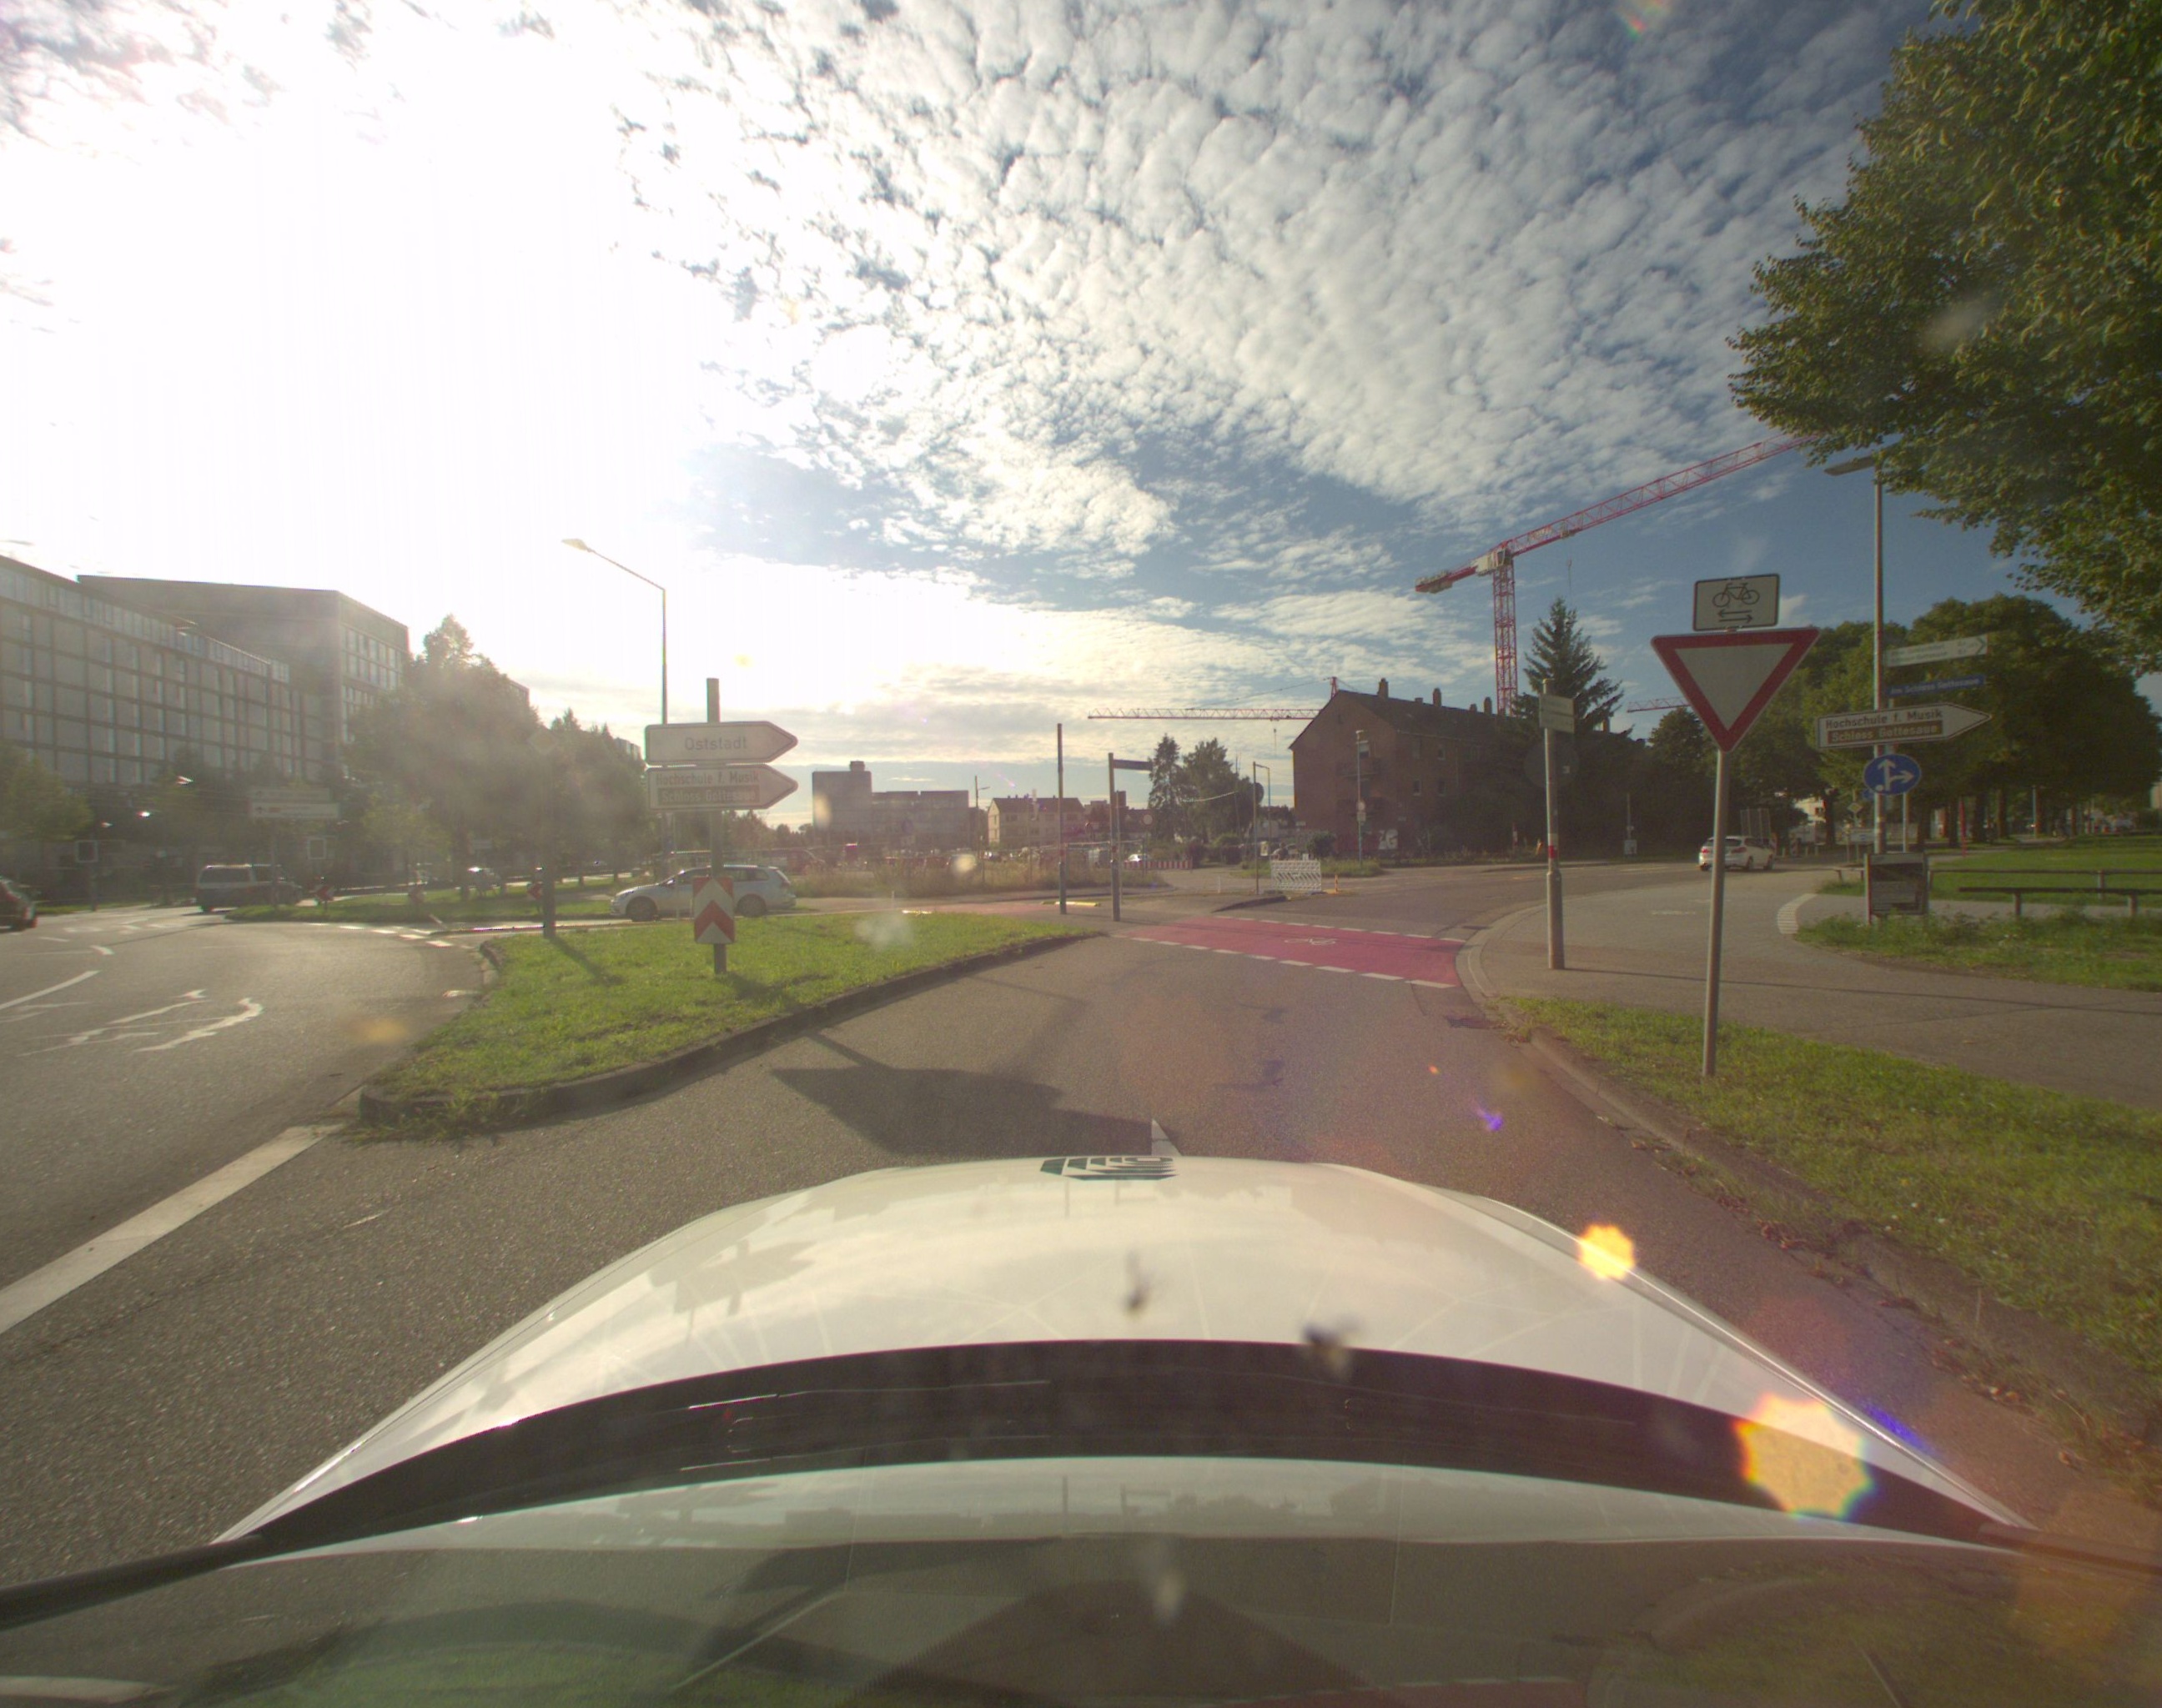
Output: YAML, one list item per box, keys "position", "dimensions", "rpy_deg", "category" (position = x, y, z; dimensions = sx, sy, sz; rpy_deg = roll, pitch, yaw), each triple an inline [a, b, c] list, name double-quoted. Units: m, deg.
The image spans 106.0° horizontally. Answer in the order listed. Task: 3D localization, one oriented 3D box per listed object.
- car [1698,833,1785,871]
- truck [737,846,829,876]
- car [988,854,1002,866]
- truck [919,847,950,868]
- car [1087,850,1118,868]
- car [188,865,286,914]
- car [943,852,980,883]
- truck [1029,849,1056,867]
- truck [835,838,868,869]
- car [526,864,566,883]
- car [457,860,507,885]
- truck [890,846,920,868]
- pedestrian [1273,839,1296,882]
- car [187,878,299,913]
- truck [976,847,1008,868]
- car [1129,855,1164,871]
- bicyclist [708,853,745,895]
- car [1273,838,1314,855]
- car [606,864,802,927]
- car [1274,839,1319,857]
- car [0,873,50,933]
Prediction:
- position: [29.482, -0.122, 36.314]
  dimensions: [4.473, 1.572, 1.837]
  rpy_deg: [-1, 1, -35]
  category: "car"
- position: [-27.396, 0.627, 75.292]
  dimensions: [7.855, 2.567, 3.056]
  rpy_deg: [-1, 0, -18]
  category: "truck"
- position: [-14.155, 0.995, 133.607]
  dimensions: [1.995, 1.860, 3.985]
  rpy_deg: [-1, 0, -11]
  category: "car"
- position: [-16.757, 0.405, 92.805]
  dimensions: [2.336, 2.328, 6.407]
  rpy_deg: [-1, 0, -21]
  category: "truck"
- position: [2.233, 0.512, 86.022]
  dimensions: [1.885, 1.816, 3.974]
  rpy_deg: [-1, 0, -20]
  category: "car"
- position: [-37.336, 1.492, 36.175]
  dimensions: [1.909, 1.903, 4.614]
  rpy_deg: [-1, 1, -32]
  category: "car"
- position: [-7.308, 0.779, 50.171]
  dimensions: [1.875, 1.816, 3.995]
  rpy_deg: [-1, 0, -4]
  category: "car"
- position: [-5.071, 0.499, 105.742]
  dimensions: [1.981, 2.171, 5.370]
  rpy_deg: [-1, 0, -19]
  category: "truck"
- position: [-25.148, -0.061, 89.063]
  dimensions: [2.818, 3.207, 7.265]
  rpy_deg: [-1, 0, -21]
  category: "truck"
- position: [-49.694, 1.800, 75.697]
  dimensions: [1.901, 1.610, 4.633]
  rpy_deg: [-1, 0, -18]
  category: "car"
- position: [-49.622, 1.514, 67.556]
  dimensions: [1.901, 1.903, 4.632]
  rpy_deg: [-1, 0, -18]
  category: "car"
- position: [-19.813, 0.358, 91.402]
  dimensions: [2.336, 2.328, 6.407]
  rpy_deg: [-1, 0, -21]
  category: "truck"
- position: [8.948, 0.274, 35.799]
  dimensions: [0.660, 1.870, 0.841]
  rpy_deg: [-1, 0, 38]
  category: "pedestrian"
- position: [-42.432, 2.055, 41.417]
  dimensions: [1.900, 1.431, 4.635]
  rpy_deg: [-1, 1, -17]
  category: "car"
- position: [-10.359, 0.368, 94.563]
  dimensions: [2.294, 2.328, 5.599]
  rpy_deg: [-1, 0, -21]
  category: "truck"
- position: [6.070, 0.804, 75.512]
  dimensions: [1.721, 1.393, 3.974]
  rpy_deg: [-1, 0, -20]
  category: "car"
- position: [-13.104, 0.723, 30.140]
  dimensions: [0.998, 1.511, 0.709]
  rpy_deg: [-2, 0, 24]
  category: "bicyclist"
- position: [21.926, -0.757, 84.060]
  dimensions: [3.962, 1.618, 1.778]
  rpy_deg: [-1, 0, 10]
  category: "car"
- position: [-9.990, 1.060, 21.992]
  dimensions: [4.538, 1.452, 1.813]
  rpy_deg: [-2, 0, -17]
  category: "car"
- position: [20.716, -0.616, 78.347]
  dimensions: [3.953, 1.618, 1.782]
  rpy_deg: [-1, 0, 20]
  category: "car"
- position: [-30.727, 1.377, 22.851]
  dimensions: [4.781, 1.567, 2.013]
  rpy_deg: [-2, -2, 36]
  category: "car"
